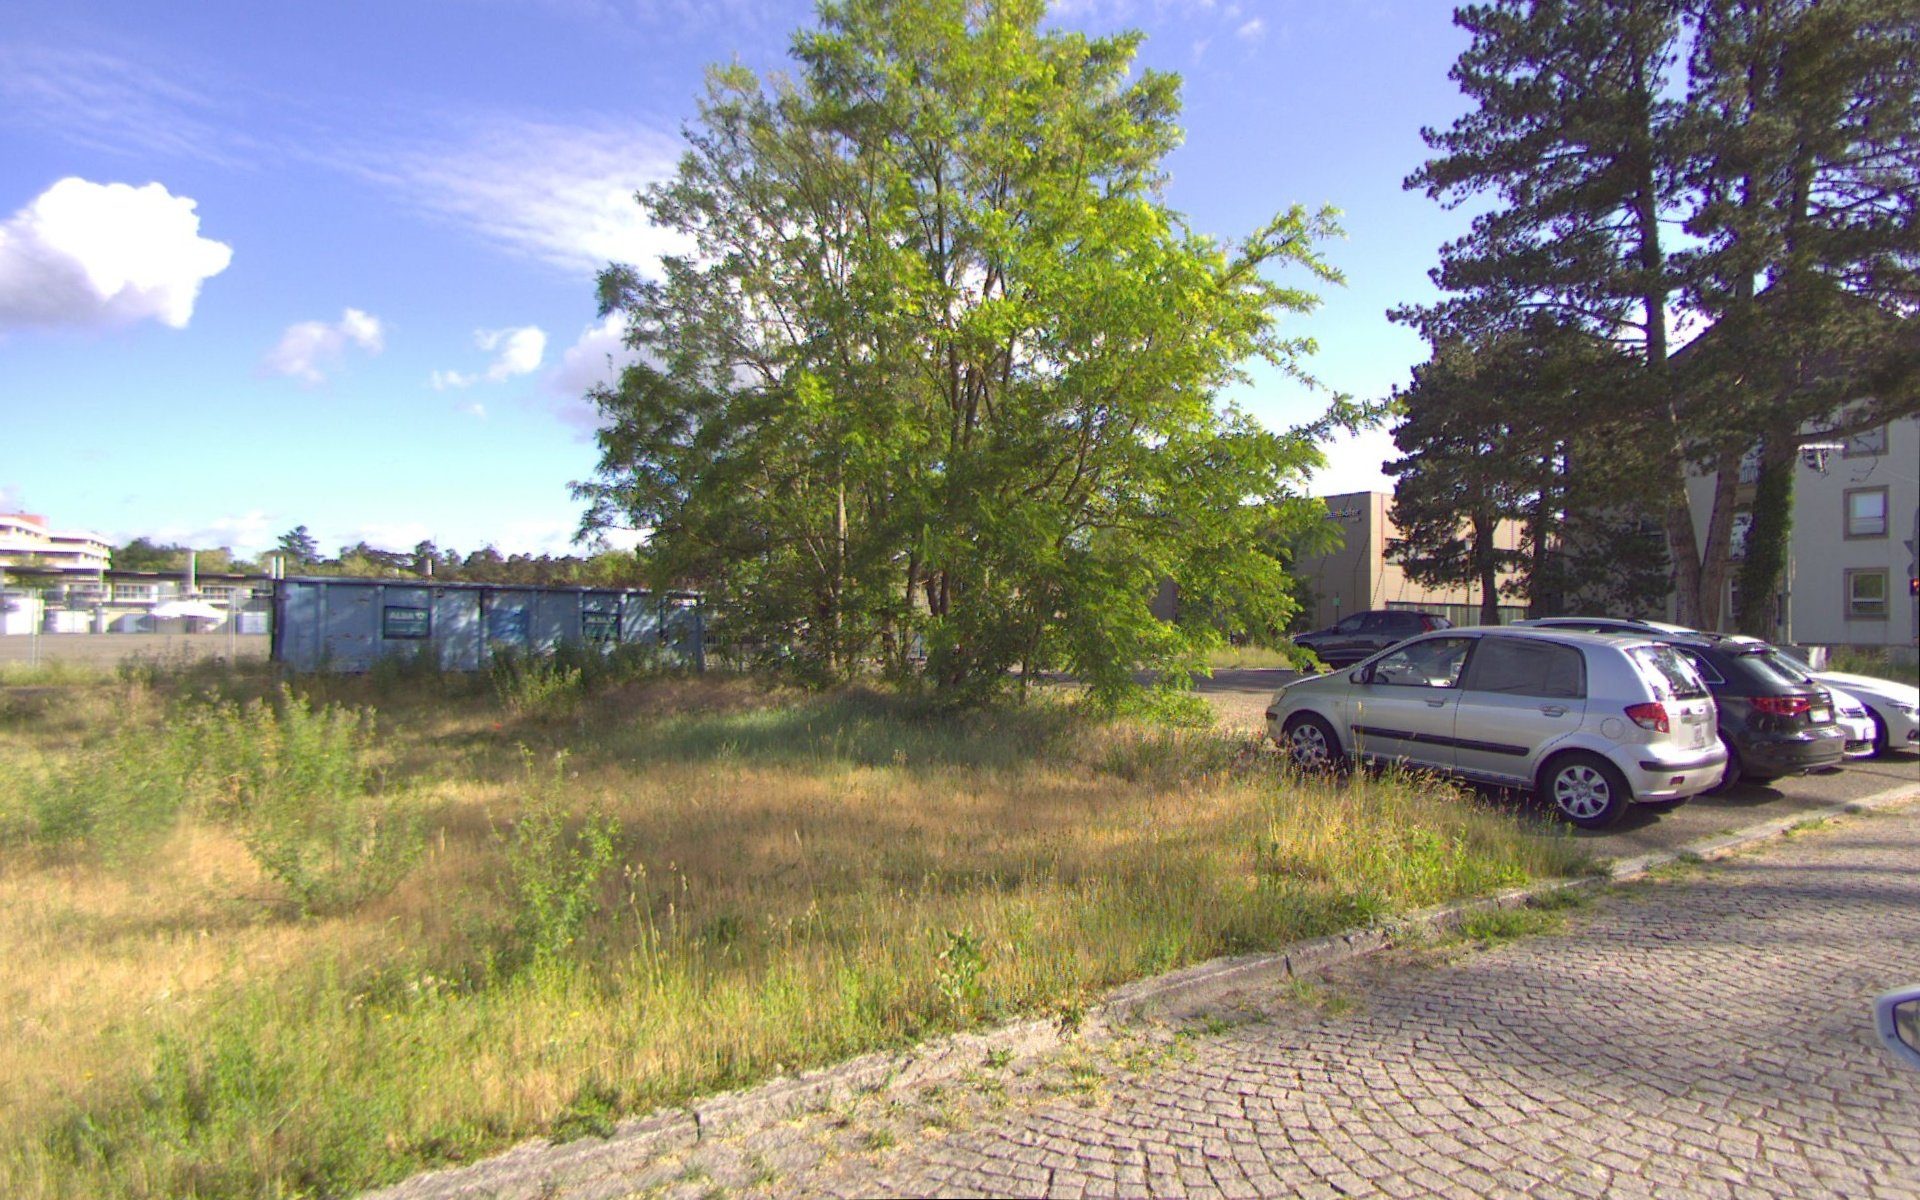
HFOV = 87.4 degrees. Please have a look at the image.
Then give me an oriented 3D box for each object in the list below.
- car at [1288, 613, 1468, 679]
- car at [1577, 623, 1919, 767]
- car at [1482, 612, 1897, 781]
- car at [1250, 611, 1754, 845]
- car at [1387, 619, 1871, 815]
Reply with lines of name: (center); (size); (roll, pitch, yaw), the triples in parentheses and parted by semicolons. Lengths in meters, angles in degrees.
car: (11.171, 1.193, 27.083); (1.988, 1.630, 4.121); (1, -2, -32)
car: (11.089, 1.169, 13.926); (1.751, 1.516, 3.970); (1, 1, -28)
car: (8.893, 1.049, 12.562); (1.643, 1.637, 3.855); (1, 1, -34)
car: (4.693, 0.945, 9.160); (1.683, 1.548, 3.660); (1, 1, -35)
car: (6.838, 1.051, 10.689); (1.673, 1.464, 3.912); (1, 2, -34)
